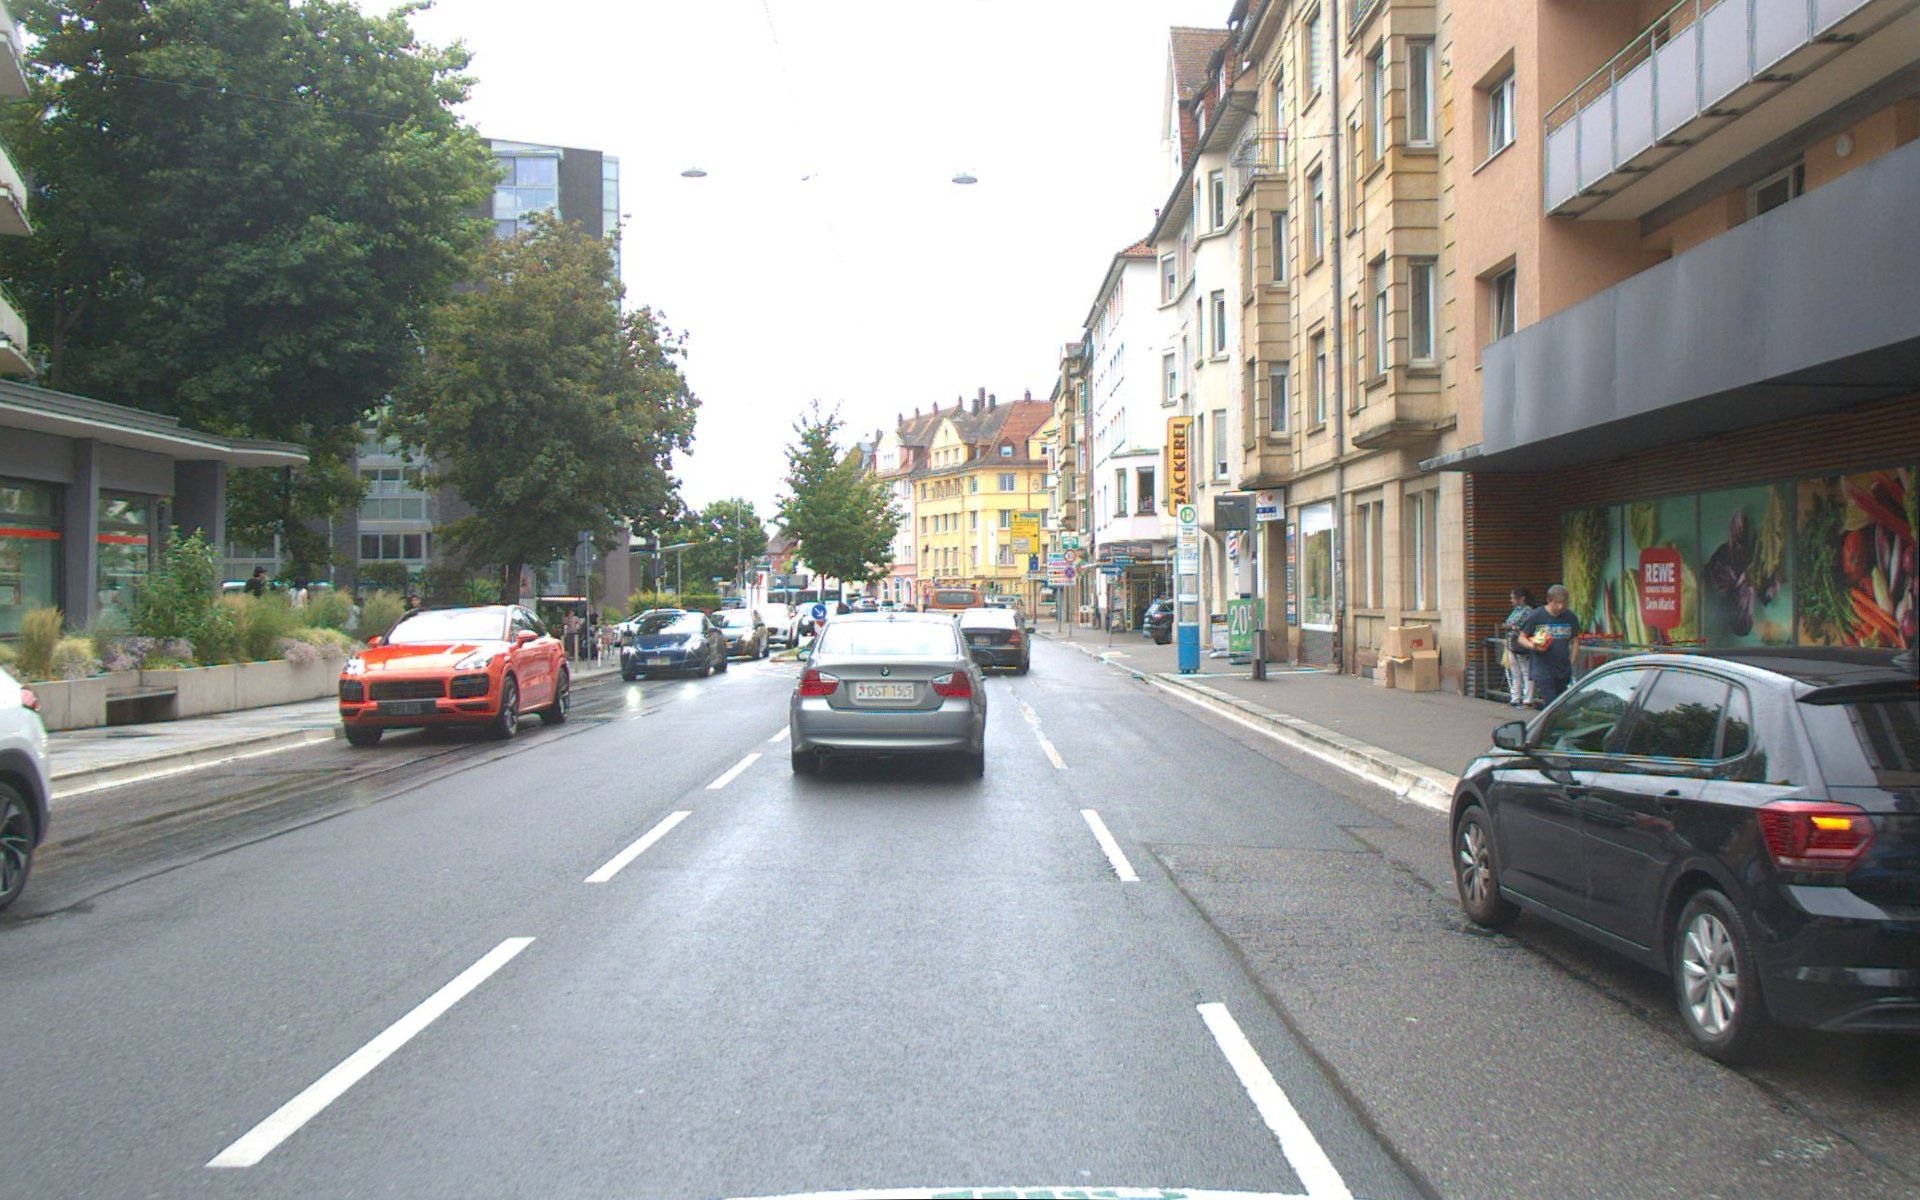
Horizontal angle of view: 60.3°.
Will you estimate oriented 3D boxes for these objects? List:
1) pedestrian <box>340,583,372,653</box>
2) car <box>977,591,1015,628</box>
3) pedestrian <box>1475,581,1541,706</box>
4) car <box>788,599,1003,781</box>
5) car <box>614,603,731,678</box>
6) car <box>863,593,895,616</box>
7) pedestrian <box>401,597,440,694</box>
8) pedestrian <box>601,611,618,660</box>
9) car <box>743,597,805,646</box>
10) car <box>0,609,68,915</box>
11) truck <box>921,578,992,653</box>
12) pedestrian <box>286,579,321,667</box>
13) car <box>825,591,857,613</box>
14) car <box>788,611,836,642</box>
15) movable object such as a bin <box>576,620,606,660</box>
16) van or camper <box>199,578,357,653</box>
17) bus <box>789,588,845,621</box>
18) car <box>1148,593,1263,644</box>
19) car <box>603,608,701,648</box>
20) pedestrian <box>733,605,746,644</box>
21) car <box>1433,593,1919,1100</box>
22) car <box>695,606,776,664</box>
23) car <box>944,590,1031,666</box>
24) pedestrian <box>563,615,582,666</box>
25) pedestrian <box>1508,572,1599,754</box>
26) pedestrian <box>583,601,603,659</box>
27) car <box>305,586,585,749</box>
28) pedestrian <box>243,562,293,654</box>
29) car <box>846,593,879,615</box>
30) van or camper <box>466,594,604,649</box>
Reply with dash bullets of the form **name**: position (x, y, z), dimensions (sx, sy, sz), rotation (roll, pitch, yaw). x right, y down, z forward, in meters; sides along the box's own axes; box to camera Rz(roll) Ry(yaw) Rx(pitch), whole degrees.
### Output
- **pedestrian**: position (-16.214, 0.483, 44.361), dimensions (0.713, 1.858, 0.715), rotation (0, 0, -28)
- **car**: position (2.000, 0.531, 93.554), dimensions (1.953, 2.049, 3.999), rotation (0, 0, -1)
- **pedestrian**: position (7.142, 0.554, 21.572), dimensions (0.552, 1.600, 0.624), rotation (0, 0, -17)
- **car**: position (-0.582, 0.770, 15.773), dimensions (1.763, 1.490, 4.369), rotation (0, -1, -1)
- **car**: position (-6.622, 0.895, 38.563), dimensions (1.915, 1.538, 4.911), rotation (-2, 0, -1)
- **car**: position (-8.206, 0.455, 167.308), dimensions (1.740, 2.218, 3.968), rotation (2, -1, -25)
- **pedestrian**: position (-10.633, 0.884, 32.576), dimensions (0.710, 1.858, 0.718), rotation (0, 0, -19)
- **pedestrian**: position (-10.373, 1.039, 48.997), dimensions (0.424, 1.435, 0.481), rotation (0, 0, -4)
- **car**: position (-6.544, 0.744, 58.514), dimensions (1.783, 1.596, 4.088), rotation (-2, 0, -2)
- **car**: position (-5.954, 0.867, 7.234), dimensions (1.856, 1.601, 4.124), rotation (-3, -1, -1)
- **truck**: position (-0.139, 0.479, 53.726), dimensions (2.179, 2.289, 5.062), rotation (0, 0, -1)
- **pedestrian**: position (-13.601, 0.471, 34.243), dimensions (0.646, 1.790, 0.716), rotation (0, 0, -24)
- **car**: position (-11.492, 0.221, 159.199), dimensions (1.965, 2.049, 3.974), rotation (0, 0, -21)
- **car**: position (-7.258, 1.269, 81.419), dimensions (1.972, 1.450, 4.499), rotation (1, 0, 0)
- **movable object such as a bin**: position (-10.766, 1.156, 48.249), dimensions (0.689, 1.154, 0.965), rotation (1, 0, -4)
- **van or camper**: position (-22.521, 0.514, 54.631), dimensions (4.553, 2.306, 2.190), rotation (2, 0, -30)
- **bus**: position (-14.473, 0.467, 166.711), dimensions (2.871, 3.159, 9.073), rotation (-1, 0, -24)
- **car**: position (8.896, 0.665, 60.170), dimensions (4.050, 1.803, 1.875), rotation (0, 0, 7)
- **car**: position (-12.462, 1.124, 67.018), dimensions (3.545, 1.597, 1.721), rotation (0, 0, -34)
- **pedestrian**: position (-10.377, 1.151, 77.867), dimensions (0.563, 1.793, 0.580), rotation (-1, 0, -7)
- **car**: position (3.488, 0.783, 7.204), dimensions (1.694, 1.574, 3.981), rotation (1, 0, 0)
- **car**: position (-6.578, 0.990, 48.817), dimensions (1.916, 1.584, 4.242), rotation (-1, 0, -2)
- **car**: position (0.565, 0.620, 36.636), dimensions (1.763, 1.590, 3.998), rotation (0, -1, -1)
- **pedestrian**: position (-11.461, 1.206, 48.927), dimensions (0.450, 1.499, 0.530), rotation (0, 0, -4)
- **pedestrian**: position (5.669, 0.586, 15.838), dimensions (0.612, 1.680, 0.749), rotation (0, 2, 2)
- **pedestrian**: position (-10.853, 0.889, 48.941), dimensions (0.488, 1.702, 0.552), rotation (0, 0, -4)
- **car**: position (-6.489, 0.810, 21.537), dimensions (2.063, 1.795, 5.059), rotation (-2, -1, -1)
- **pedestrian**: position (-14.420, 0.160, 34.474), dimensions (0.845, 1.877, 0.692), rotation (0, 0, -15)
- **car**: position (-9.084, 0.378, 153.497), dimensions (1.965, 2.049, 3.974), rotation (0, 0, -21)
- **van or camper**: position (-16.552, 0.825, 64.438), dimensions (4.899, 2.049, 1.980), rotation (0, 0, -30)
